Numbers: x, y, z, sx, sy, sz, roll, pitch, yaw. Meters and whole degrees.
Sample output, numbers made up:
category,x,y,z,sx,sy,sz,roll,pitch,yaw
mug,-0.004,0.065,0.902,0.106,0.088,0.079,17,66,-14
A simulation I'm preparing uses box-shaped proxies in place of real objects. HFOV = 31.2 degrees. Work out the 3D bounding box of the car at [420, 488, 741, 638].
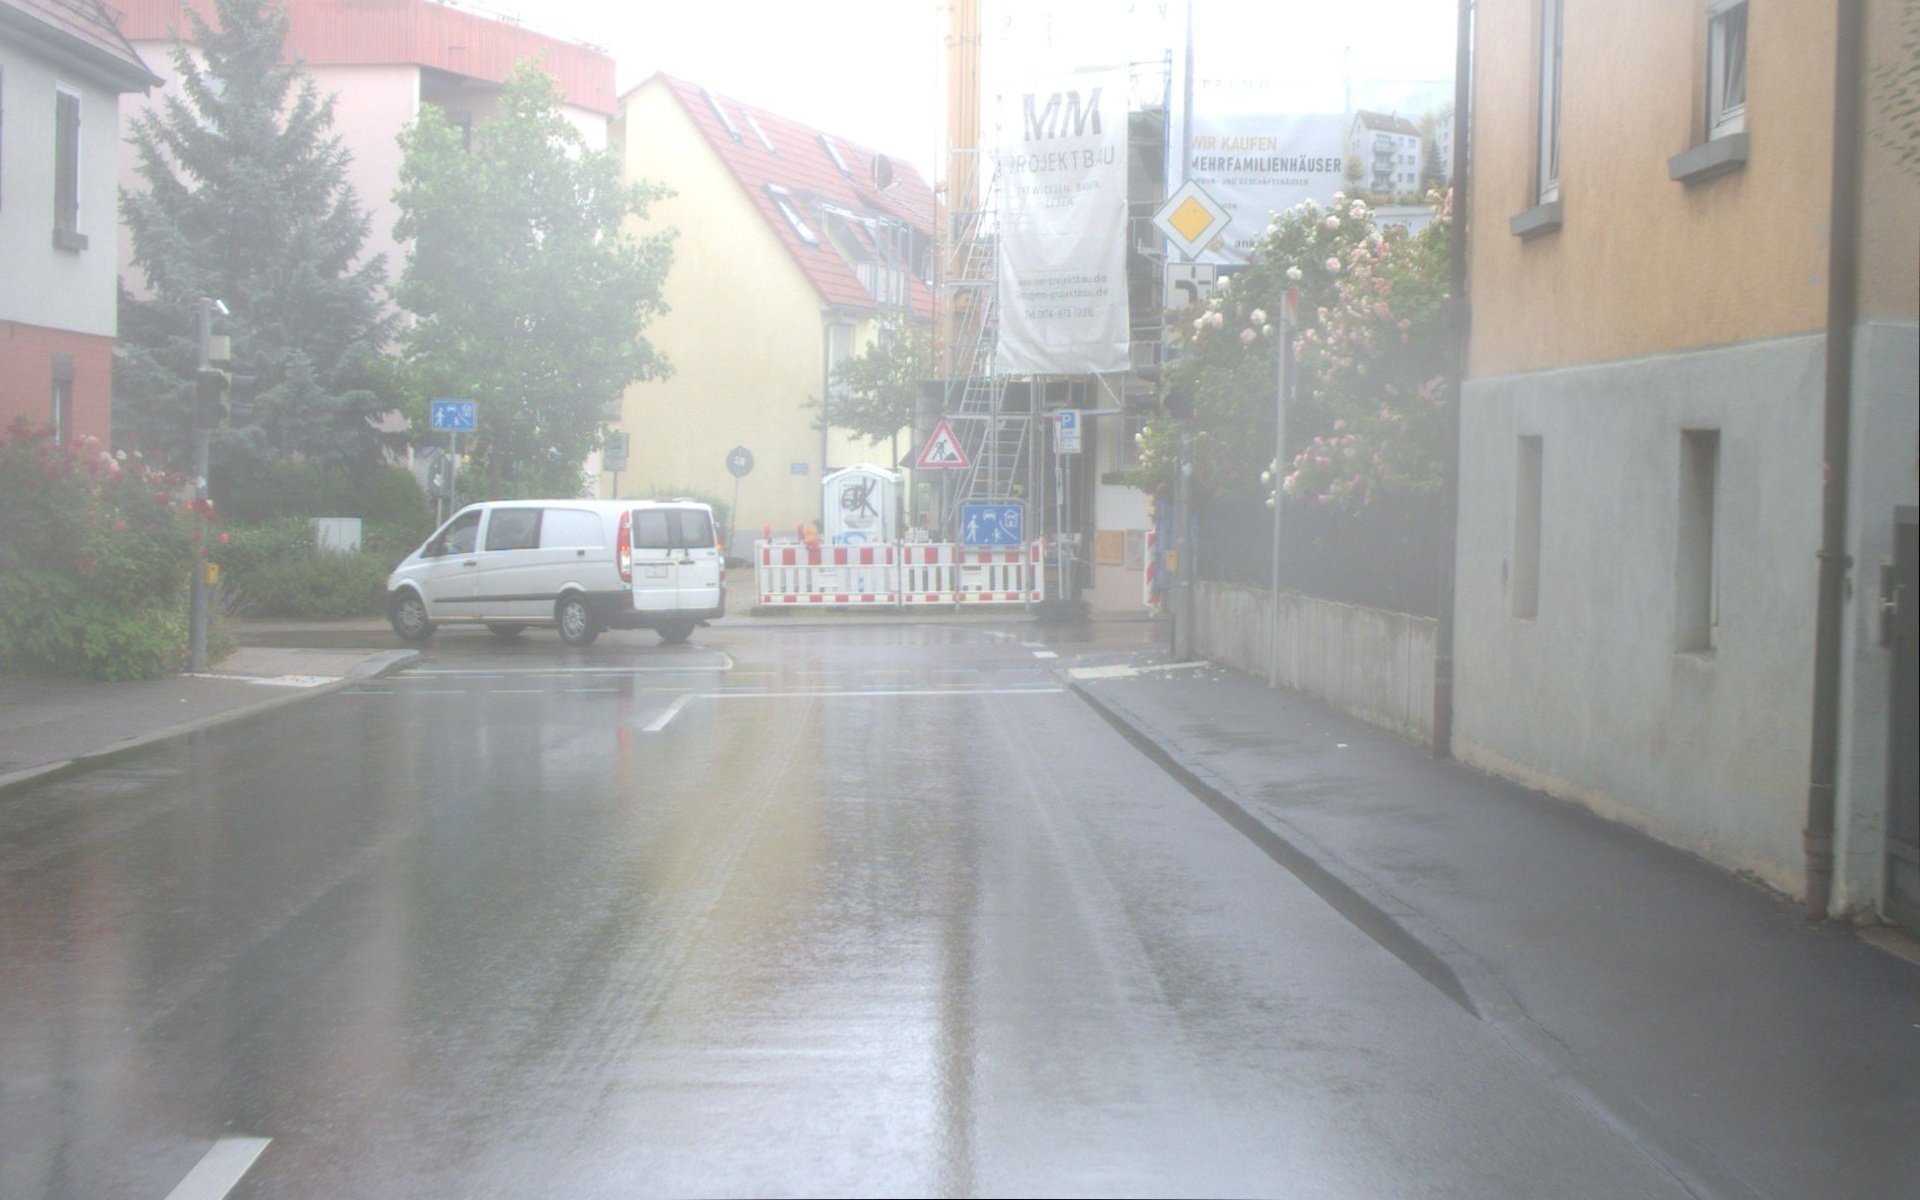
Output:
category,x,y,z,sx,sy,sz,roll,pitch,yaw
car,-4.989,-0.490,44.862,2.182,1.863,3.998,0,1,-43
